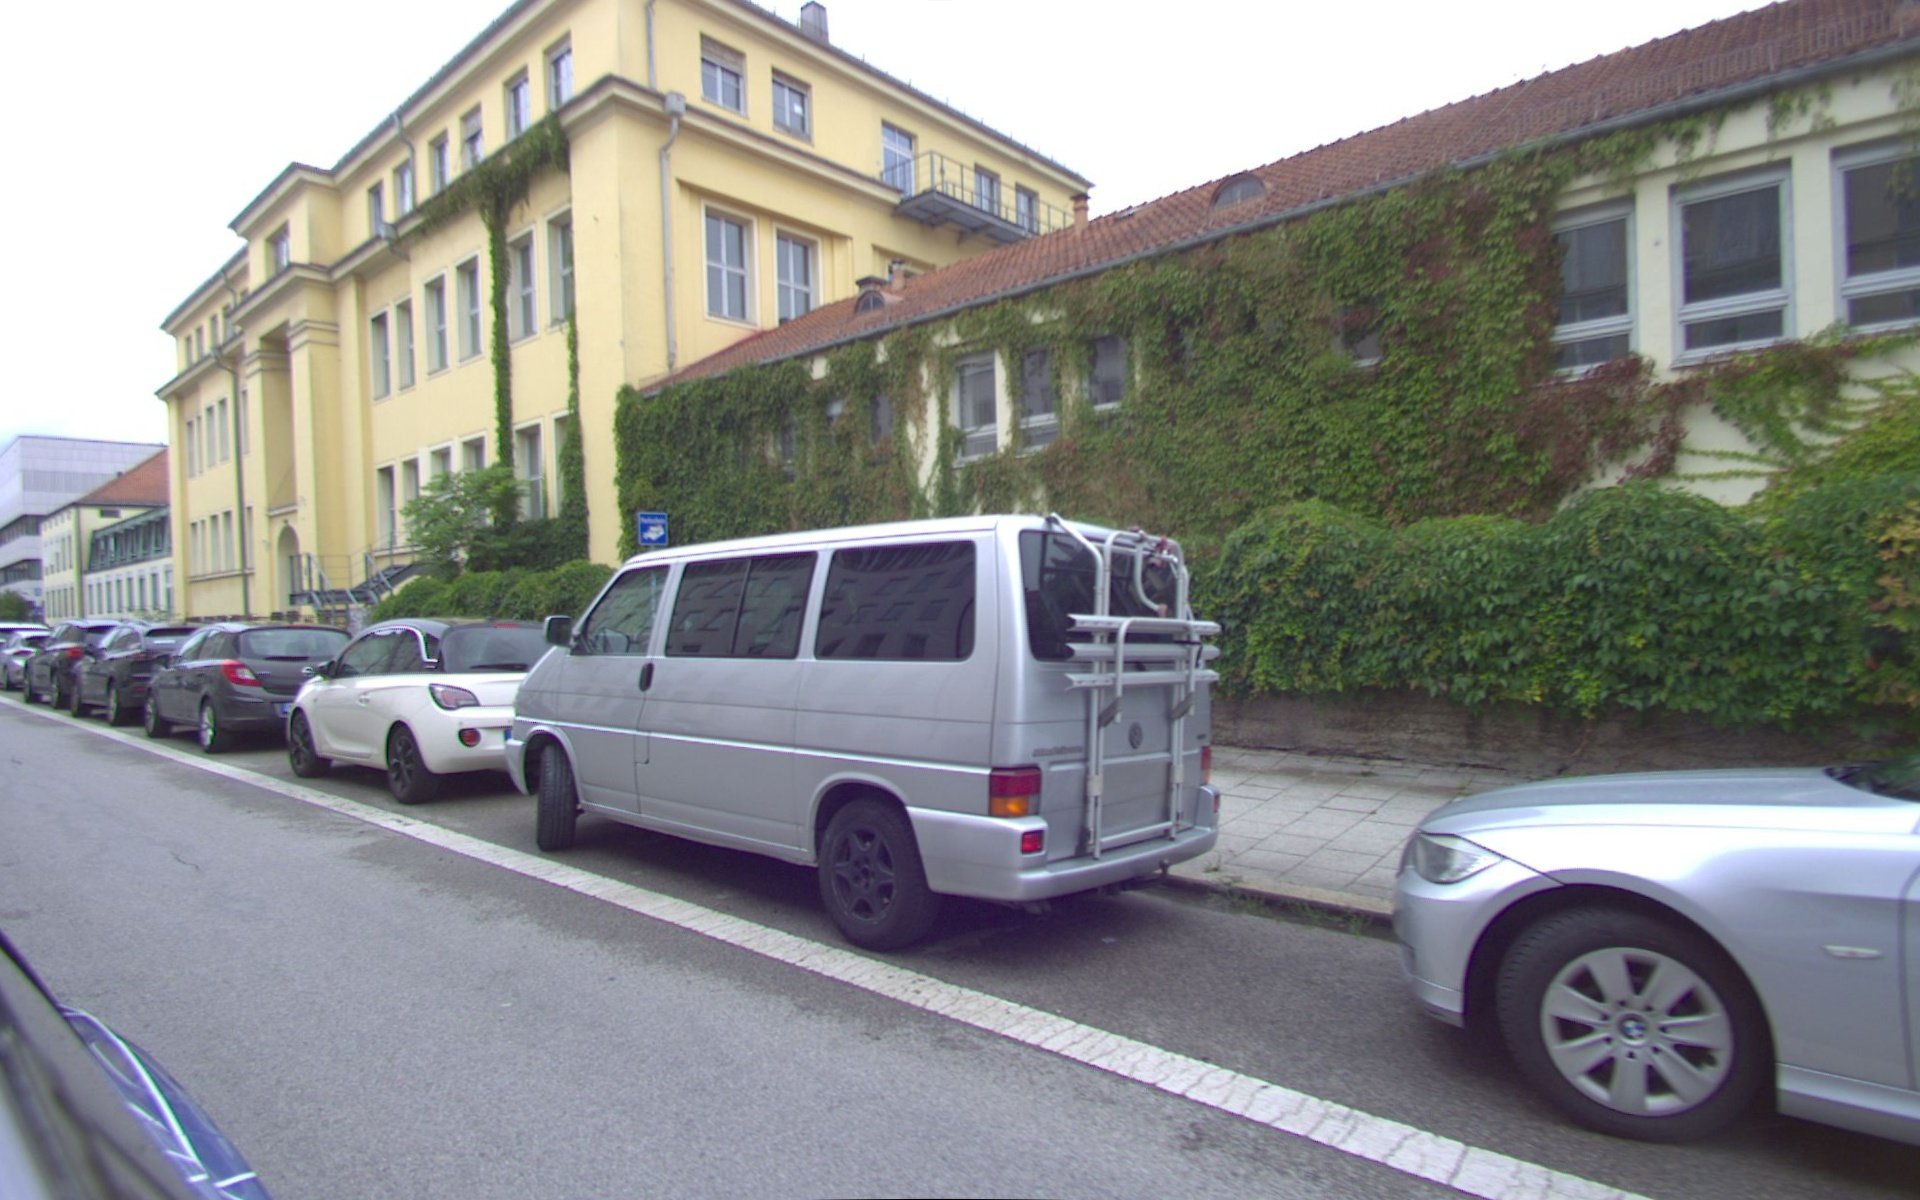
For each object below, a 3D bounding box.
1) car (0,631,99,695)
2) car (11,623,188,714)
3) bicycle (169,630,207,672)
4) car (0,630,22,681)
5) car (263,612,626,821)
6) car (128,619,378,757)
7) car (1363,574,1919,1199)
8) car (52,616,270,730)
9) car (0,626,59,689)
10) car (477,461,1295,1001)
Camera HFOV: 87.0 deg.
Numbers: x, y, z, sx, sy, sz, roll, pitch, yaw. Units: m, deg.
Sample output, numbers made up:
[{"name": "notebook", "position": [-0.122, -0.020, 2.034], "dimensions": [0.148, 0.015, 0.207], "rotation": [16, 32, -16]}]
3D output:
[{"name": "car", "position": [-22.518, 1.509, 24.660], "dimensions": [3.891, 1.437, 1.663], "rotation": [-2, -4, 40]}, {"name": "car", "position": [-16.378, 1.251, 19.209], "dimensions": [4.190, 1.550, 1.764], "rotation": [-2, -4, 39]}, {"name": "bicycle", "position": [-23.469, 1.532, 30.756], "dimensions": [1.561, 1.197, 0.571], "rotation": [-2, 2, 41]}, {"name": "car", "position": [-30.739, 1.723, 31.499], "dimensions": [3.968, 1.516, 1.663], "rotation": [-2, -3, 38]}, {"name": "car", "position": [-4.752, 0.905, 9.127], "dimensions": [3.727, 1.504, 1.562], "rotation": [-2, -3, 40]}, {"name": "car", "position": [-8.889, 1.018, 12.620], "dimensions": [3.901, 1.467, 1.562], "rotation": [-2, -4, 40]}, {"name": "car", "position": [3.447, 0.694, 2.299], "dimensions": [4.421, 1.433, 1.684], "rotation": [-2, -5, 40]}, {"name": "car", "position": [-12.525, 1.089, 15.792], "dimensions": [4.144, 1.550, 1.764], "rotation": [-2, -4, 39]}, {"name": "car", "position": [-26.684, 1.572, 28.092], "dimensions": [4.350, 1.646, 1.664], "rotation": [-2, -4, 38]}, {"name": "car", "position": [-0.772, 0.492, 5.872], "dimensions": [4.756, 1.889, 1.973], "rotation": [-1, -1, 42]}]
